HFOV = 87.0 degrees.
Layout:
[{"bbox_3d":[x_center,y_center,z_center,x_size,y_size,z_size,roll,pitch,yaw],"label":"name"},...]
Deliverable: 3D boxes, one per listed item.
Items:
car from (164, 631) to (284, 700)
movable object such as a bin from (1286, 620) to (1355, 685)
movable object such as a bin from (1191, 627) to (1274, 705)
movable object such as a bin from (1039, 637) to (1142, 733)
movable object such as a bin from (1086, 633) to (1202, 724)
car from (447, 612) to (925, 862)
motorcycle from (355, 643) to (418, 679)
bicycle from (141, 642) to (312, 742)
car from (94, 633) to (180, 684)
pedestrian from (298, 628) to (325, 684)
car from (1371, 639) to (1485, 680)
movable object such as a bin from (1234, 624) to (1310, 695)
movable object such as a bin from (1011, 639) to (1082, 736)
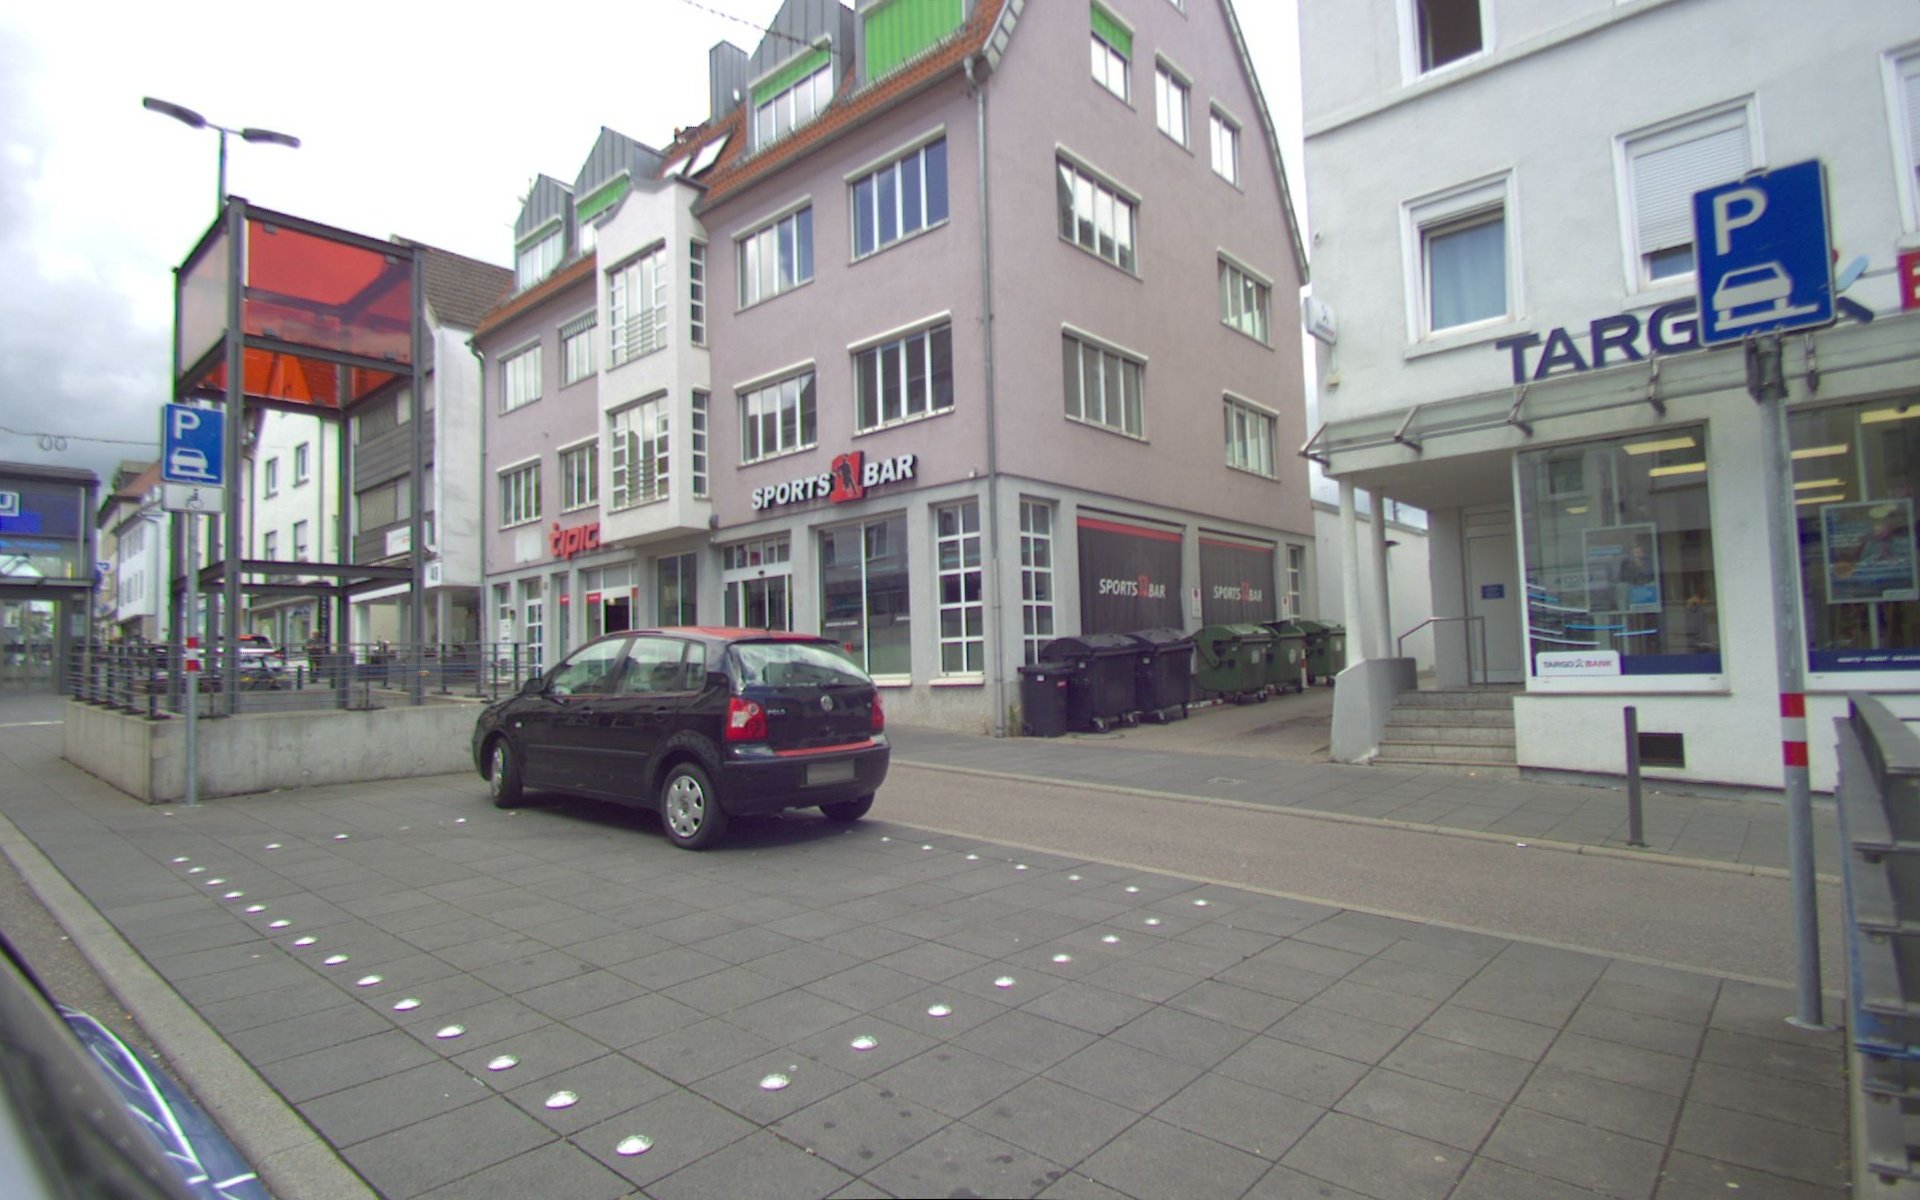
[{"bbox_3d":[-19.300,1.645,26.463,4.120,1.583,1.662,-1,-1,41],"label":"car"},{"bbox_3d":[7.998,1.151,22.427,1.043,1.387,1.270,-2,-2,41],"label":"movable object such as a bin"},{"bbox_3d":[5.073,1.196,18.840,1.043,1.387,1.270,-2,-2,41],"label":"movable object such as a bin"},{"bbox_3d":[2.023,1.266,15.629,1.067,1.387,1.270,-2,-2,41],"label":"movable object such as a bin"},{"bbox_3d":[2.991,1.230,16.452,1.406,1.387,1.270,-2,-2,41],"label":"movable object such as a bin"},{"bbox_3d":[-2.252,0.887,7.859,3.850,1.486,1.554,-1,-4,38],"label":"car"},{"bbox_3d":[-20.190,2.137,35.667,0.634,1.149,1.830,-1,-1,40],"label":"motorcycle"},{"bbox_3d":[-9.692,1.177,13.435,0.459,1.232,1.760,-1,-3,40],"label":"bicycle"},{"bbox_3d":[-28.770,1.992,35.347,4.120,1.583,1.662,-1,-1,41],"label":"car"},{"bbox_3d":[-20.510,1.755,31.999,0.513,1.729,0.584,-1,-1,41],"label":"pedestrian"},{"bbox_3d":[20.589,2.591,44.634,4.212,1.621,1.850,-1,-1,41],"label":"car"},{"bbox_3d":[6.305,1.175,20.433,1.043,1.387,1.270,-2,-2,41],"label":"movable object such as a bin"},{"bbox_3d":[1.278,1.269,14.995,0.807,1.387,0.682,-2,-2,41],"label":"movable object such as a bin"}]
